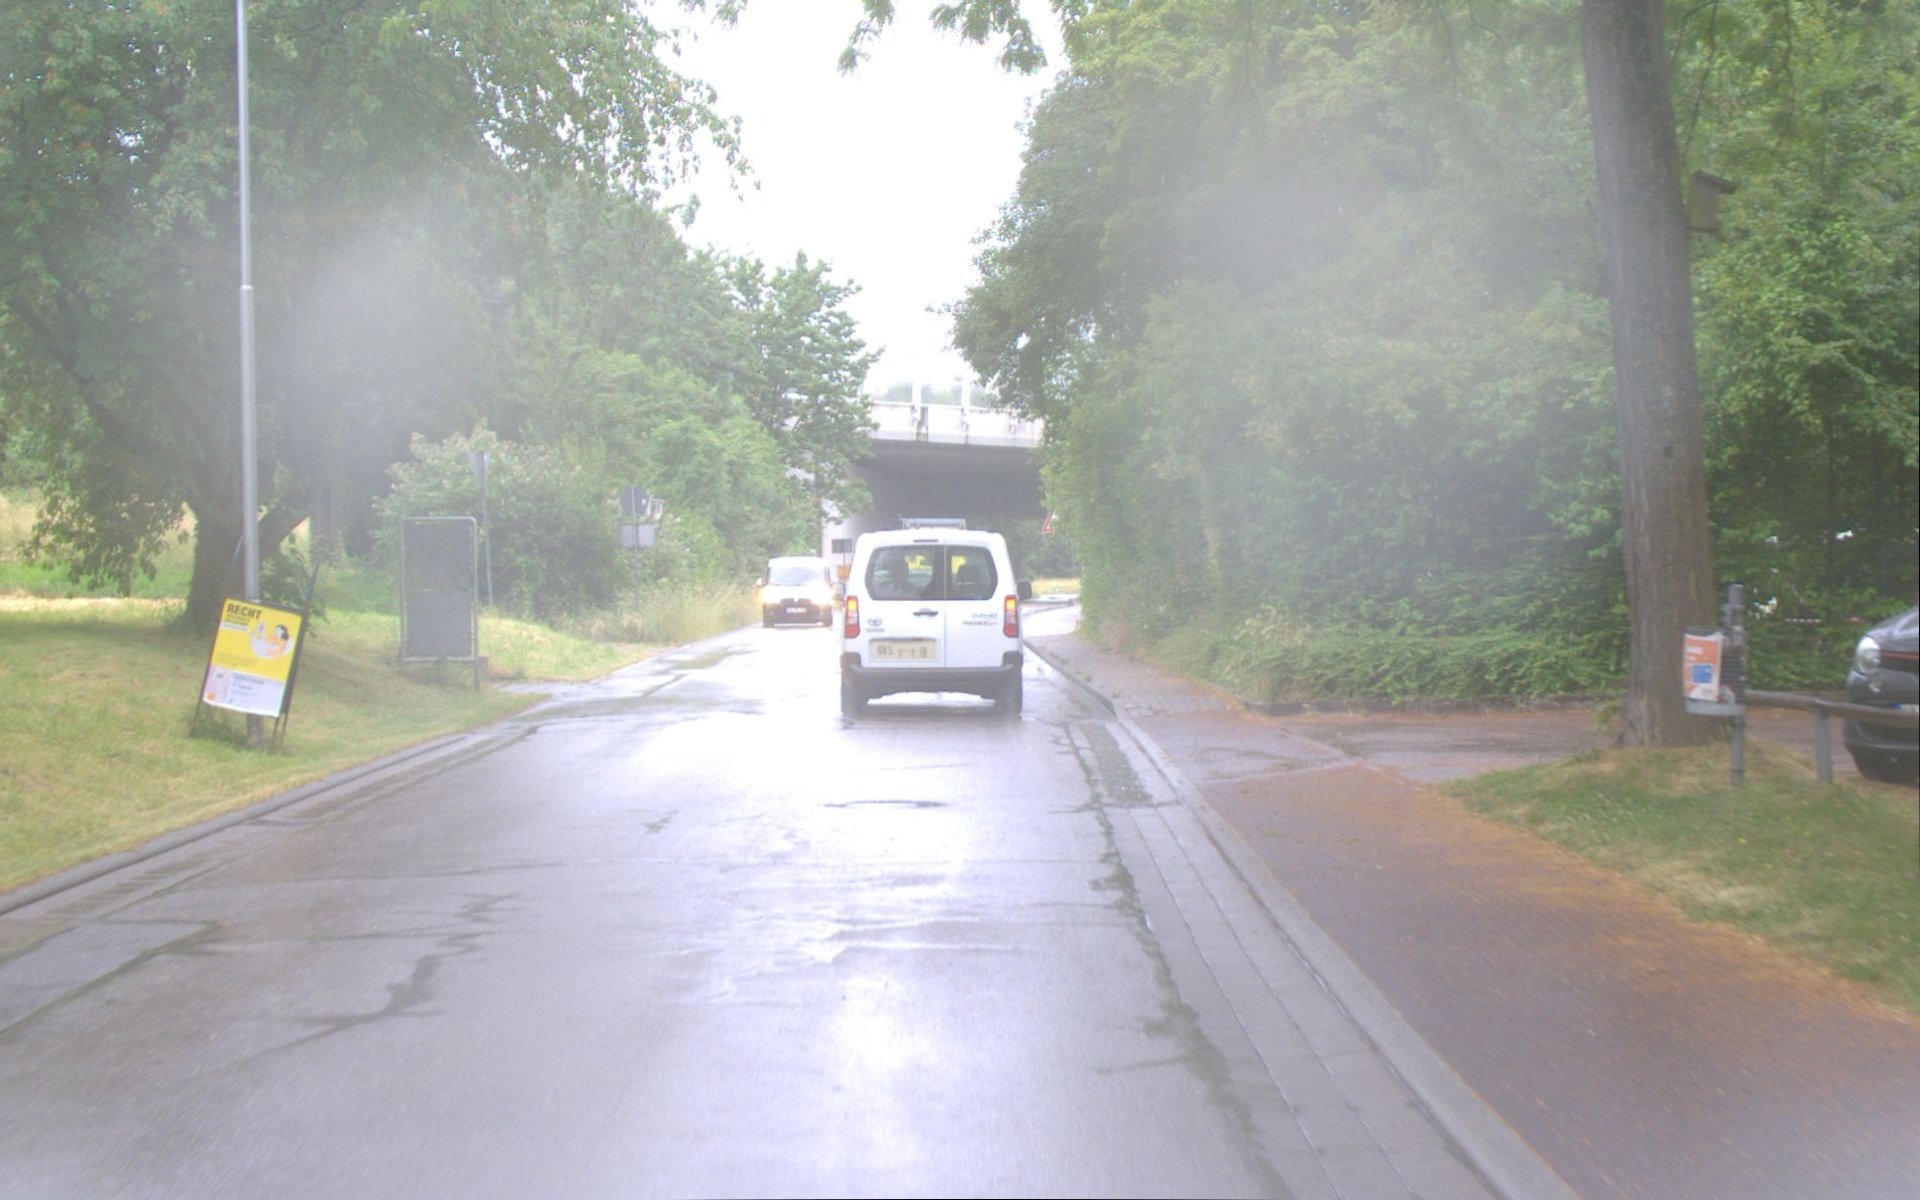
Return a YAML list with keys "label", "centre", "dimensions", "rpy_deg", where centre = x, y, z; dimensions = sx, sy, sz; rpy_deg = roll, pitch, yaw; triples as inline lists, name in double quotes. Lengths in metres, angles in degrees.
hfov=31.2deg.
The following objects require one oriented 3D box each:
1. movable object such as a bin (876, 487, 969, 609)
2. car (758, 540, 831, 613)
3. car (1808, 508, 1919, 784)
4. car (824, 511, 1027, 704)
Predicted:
- label: "movable object such as a bin"
  centre: [-0.770, -1.104, 73.672]
  dimensions: [1.761, 2.539, 4.239]
  rpy_deg: [0, 0, 2]
- label: "car"
  centre: [-4.254, -0.610, 88.824]
  dimensions: [1.823, 1.825, 4.307]
  rpy_deg: [0, 1, -2]
- label: "car"
  centre: [6.839, 0.226, 20.253]
  dimensions: [3.602, 1.546, 1.621]
  rpy_deg: [-1, 0, -36]
- label: "car"
  centre: [-0.311, 0.024, 34.800]
  dimensions: [1.896, 1.800, 4.000]
  rpy_deg: [-1, 1, 0]
